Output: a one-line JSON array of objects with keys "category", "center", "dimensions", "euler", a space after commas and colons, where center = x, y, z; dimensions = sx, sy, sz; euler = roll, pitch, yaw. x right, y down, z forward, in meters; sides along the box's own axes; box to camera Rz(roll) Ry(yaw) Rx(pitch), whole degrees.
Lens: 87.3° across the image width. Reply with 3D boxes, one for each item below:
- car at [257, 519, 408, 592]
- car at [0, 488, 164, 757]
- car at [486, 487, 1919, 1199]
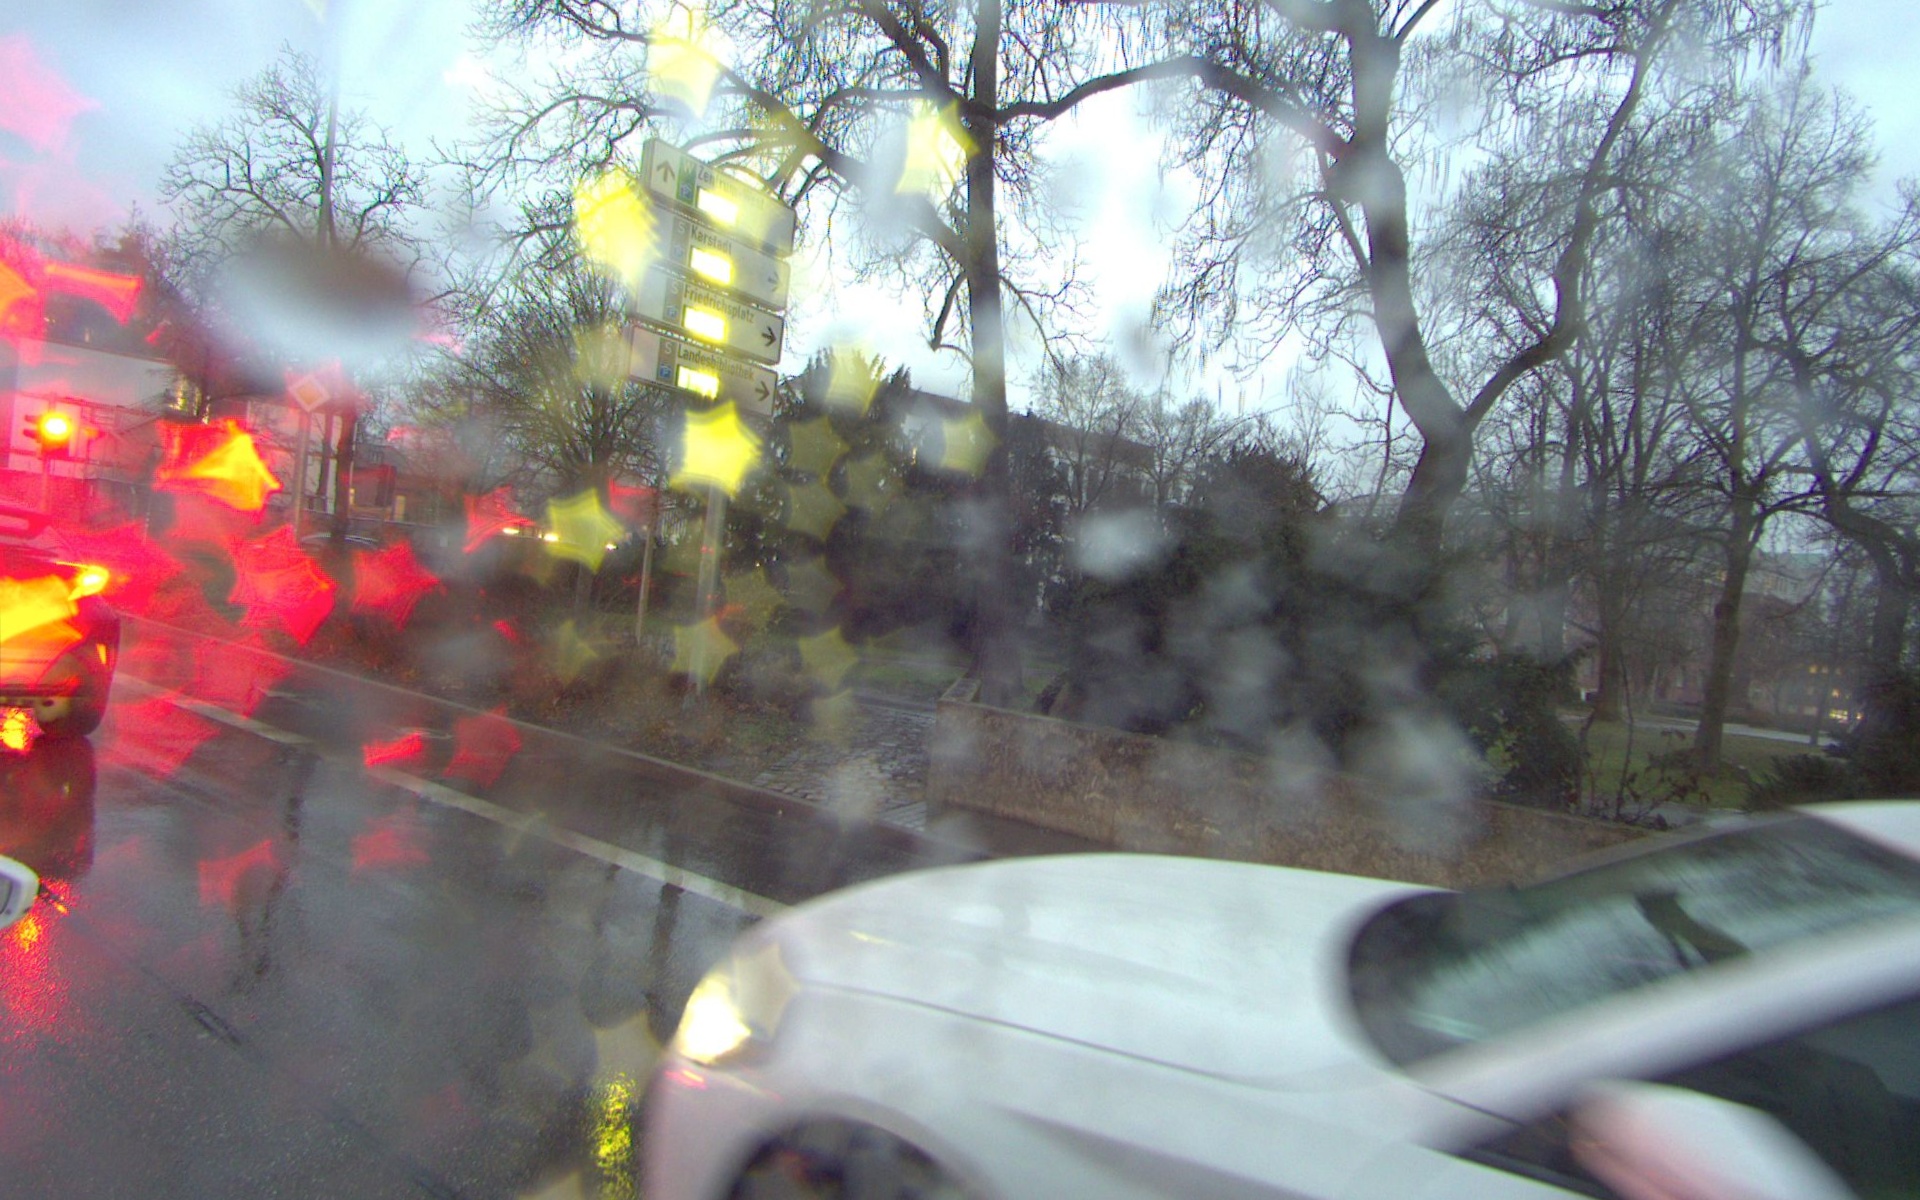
[{"category": "car", "center": [-22.905, -1.615, 36.819], "dimensions": [4.259, 1.965, 1.977], "euler": [10, -3, -42]}, {"category": "car", "center": [-7.146, -0.067, 6.559], "dimensions": [3.831, 1.529, 1.802], "euler": [7, 0, 32]}, {"category": "car", "center": [1.667, 0.879, 1.565], "dimensions": [4.854, 1.575, 1.865], "euler": [7, 0, 30]}]
